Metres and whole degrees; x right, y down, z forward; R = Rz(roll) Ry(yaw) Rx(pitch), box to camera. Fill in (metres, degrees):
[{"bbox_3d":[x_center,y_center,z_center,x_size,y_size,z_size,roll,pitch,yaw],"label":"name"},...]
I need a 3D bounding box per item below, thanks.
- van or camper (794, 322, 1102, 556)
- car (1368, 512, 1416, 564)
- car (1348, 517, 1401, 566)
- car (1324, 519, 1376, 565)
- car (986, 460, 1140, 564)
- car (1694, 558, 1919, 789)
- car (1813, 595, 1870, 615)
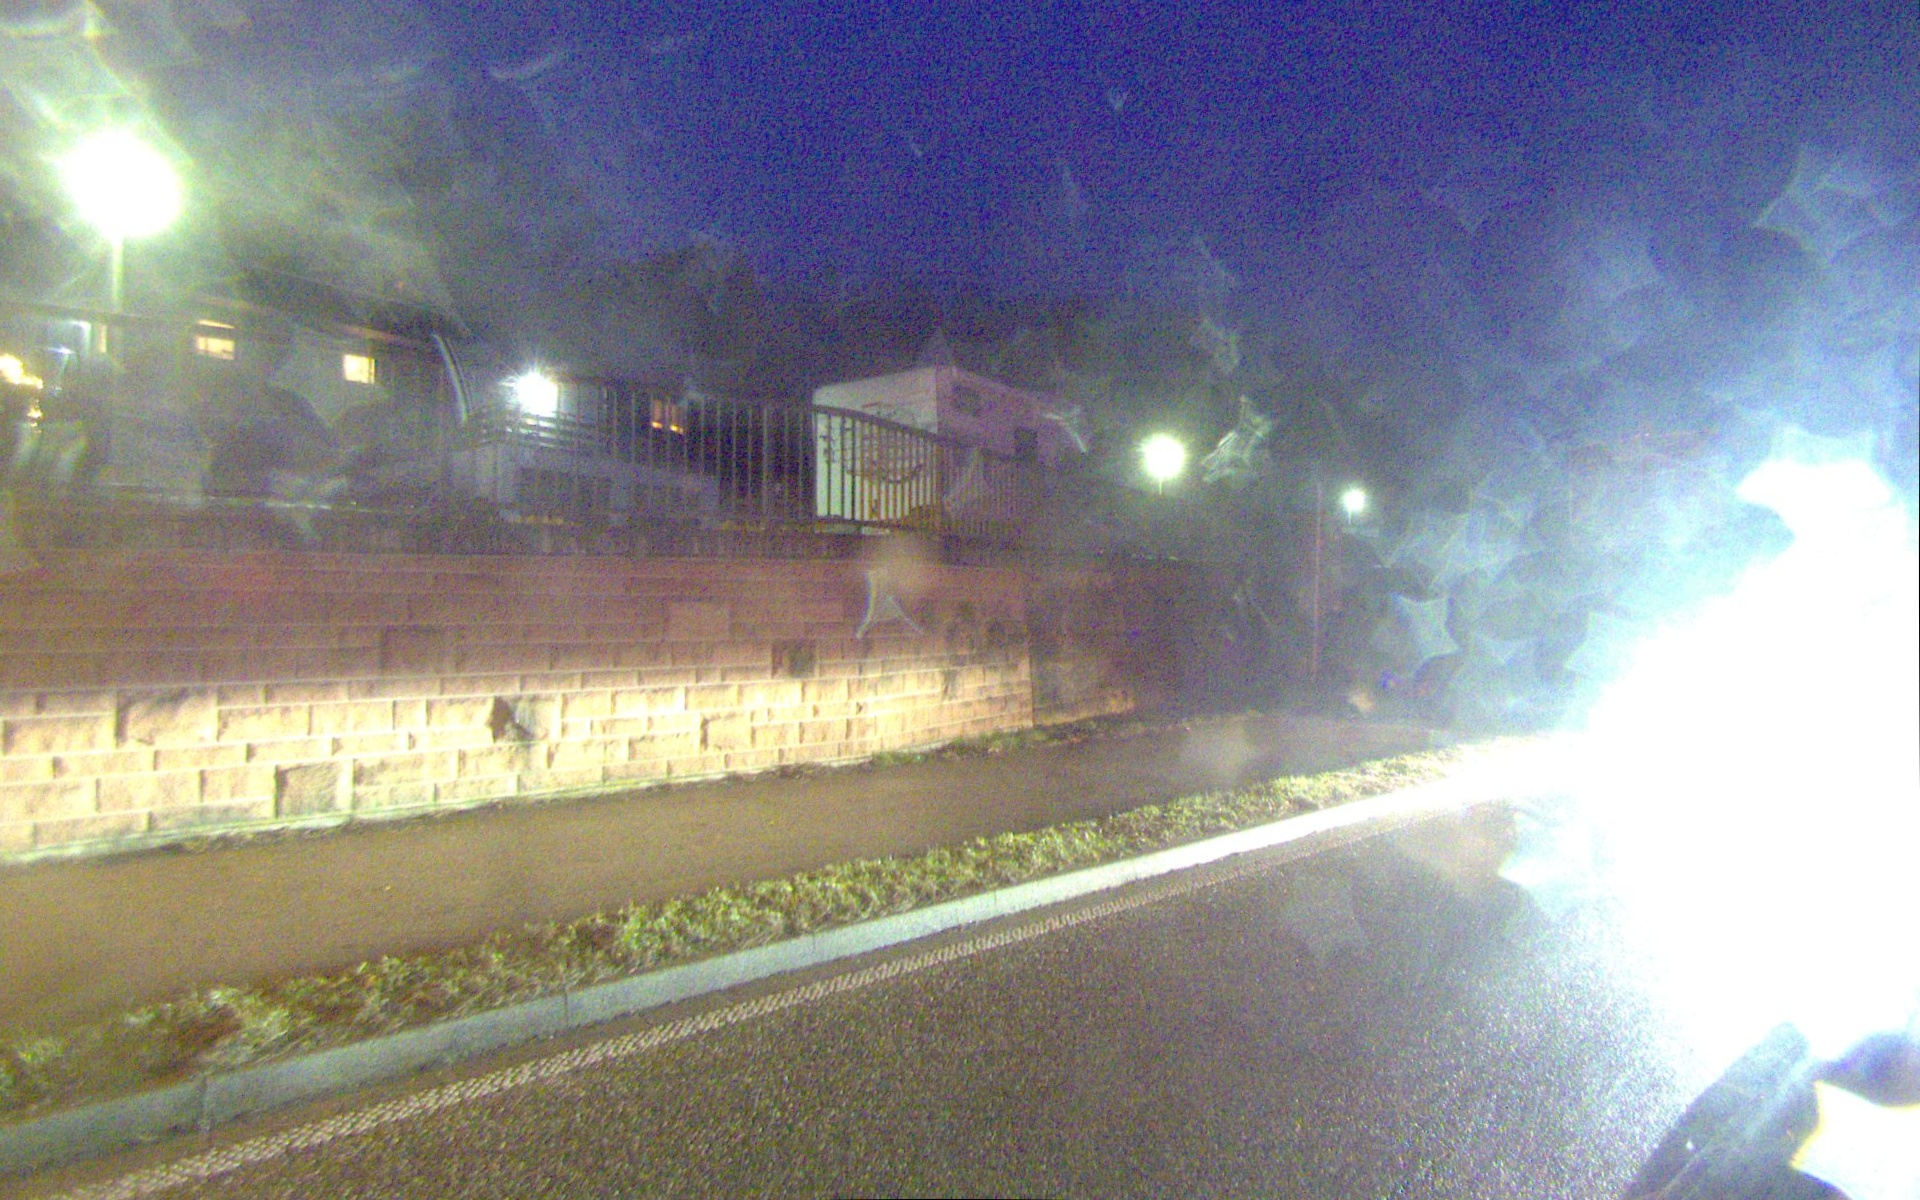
[{"bbox_3d":[0.093,-2.222,16.245,2.394,2.828,5.712,0,0,30],"label":"van or camper"},{"bbox_3d":[25.090,-3.549,58.756,1.922,2.810,4.206,0,0,32],"label":"car"},{"bbox_3d":[22.222,-3.079,54.233,1.922,2.451,4.206,0,0,32],"label":"car"},{"bbox_3d":[19.235,-2.815,49.807,1.721,2.039,3.658,0,0,32],"label":"car"},{"bbox_3d":[2.460,-1.908,23.262,1.985,2.039,3.954,0,0,32],"label":"car"},{"bbox_3d":[9.244,0.530,9.244,4.838,1.757,1.844,-1,0,-23],"label":"car"},{"bbox_3d":[92.334,0.458,106.070,1.958,2.039,4.008,0,0,-22],"label":"car"}]
